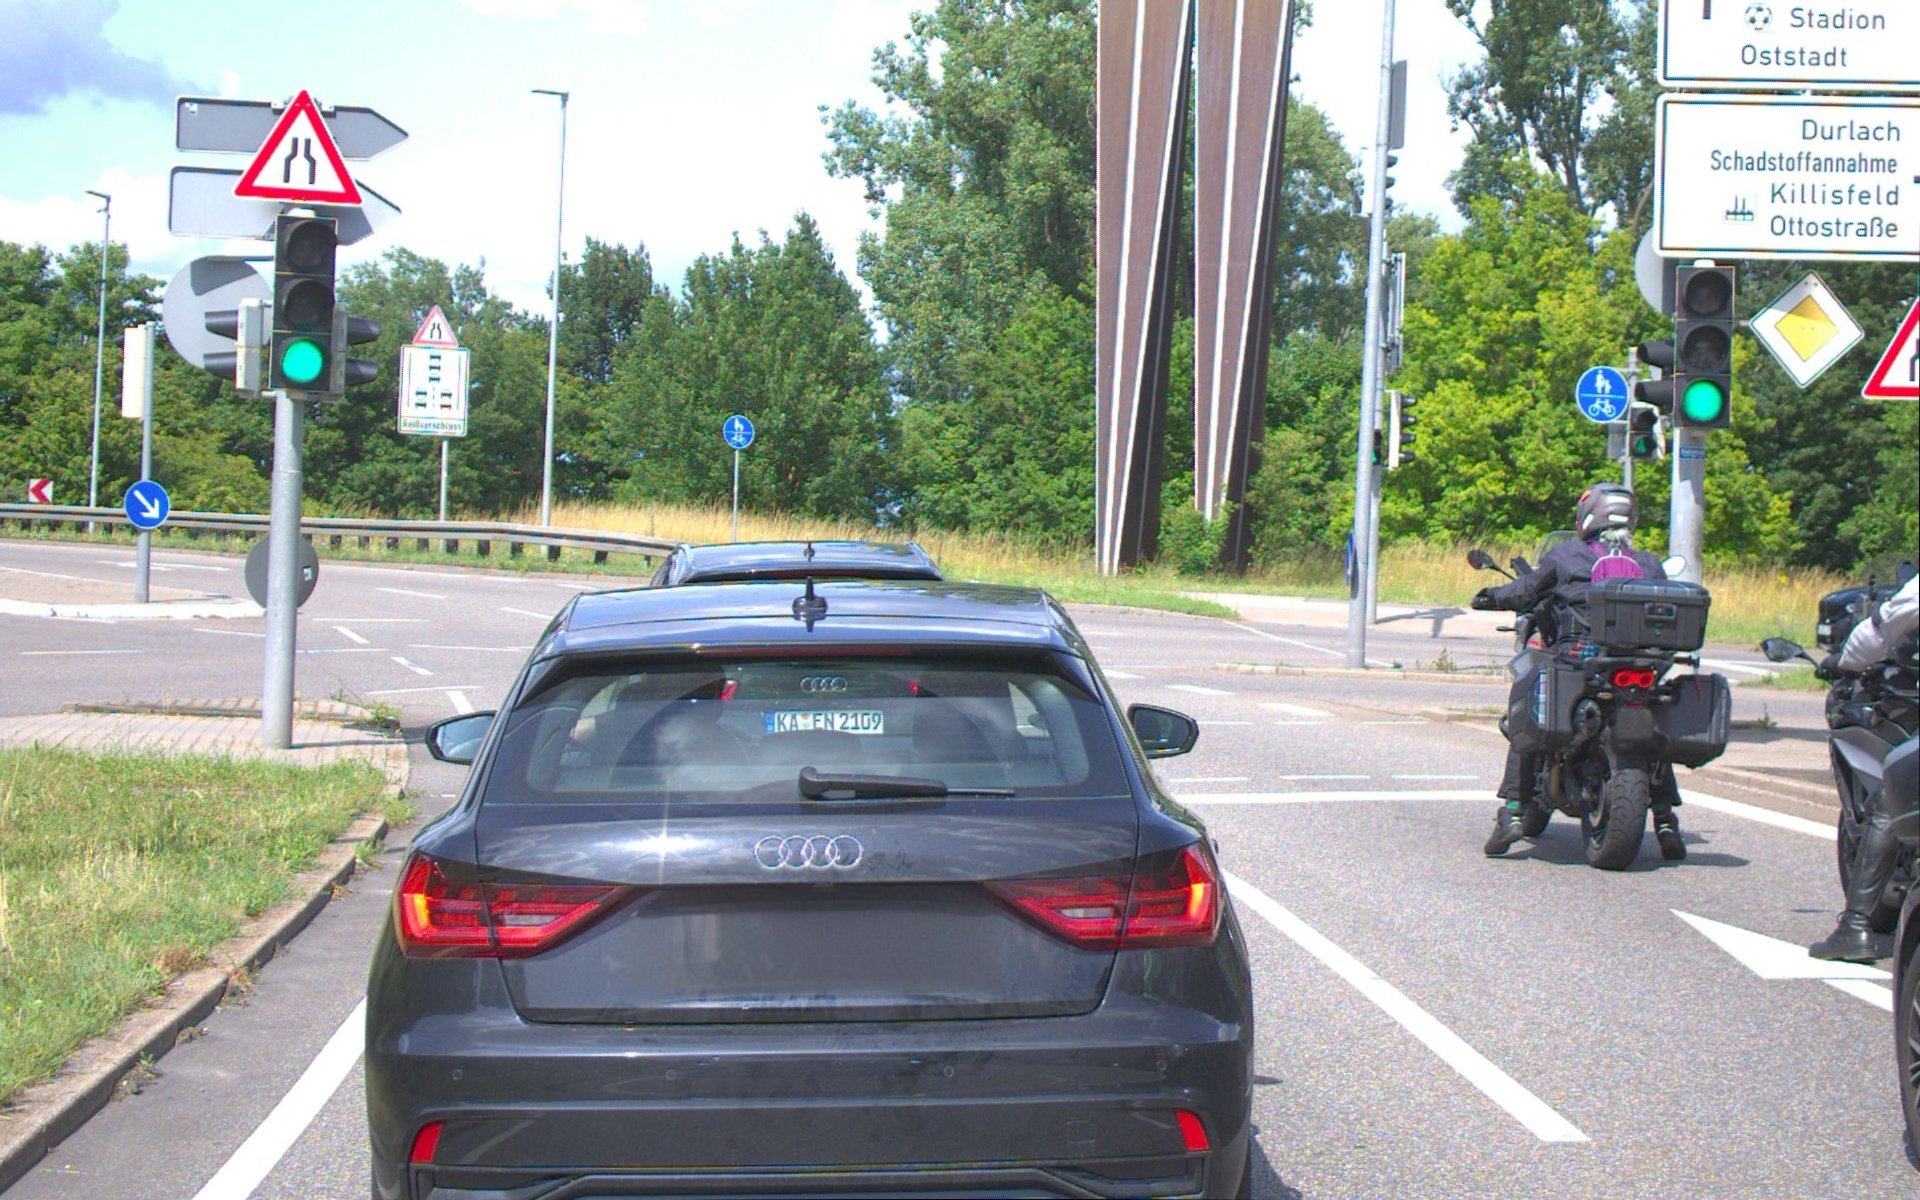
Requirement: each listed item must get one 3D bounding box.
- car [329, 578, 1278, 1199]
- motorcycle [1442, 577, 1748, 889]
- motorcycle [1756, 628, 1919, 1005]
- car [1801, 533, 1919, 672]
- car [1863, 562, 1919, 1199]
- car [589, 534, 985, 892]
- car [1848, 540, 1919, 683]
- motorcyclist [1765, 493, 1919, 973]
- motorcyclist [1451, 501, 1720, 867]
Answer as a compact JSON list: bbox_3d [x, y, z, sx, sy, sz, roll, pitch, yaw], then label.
[{"bbox_3d":[-0.300,0.672,7.978,1.682,1.383,3.739,0,1,-1],"label":"car"},{"bbox_3d":[2.837,0.552,15.653,0.887,1.243,2.399,2,1,-1],"label":"motorcycle"},{"bbox_3d":[3.466,0.715,11.929,0.789,1.128,2.399,2,1,-1],"label":"motorcycle"},{"bbox_3d":[12.954,0.096,43.176,4.201,1.640,1.838,3,2,-3],"label":"car"},{"bbox_3d":[3.117,0.703,6.487,1.642,1.473,3.873,1,1,-2],"label":"car"},{"bbox_3d":[-0.804,0.443,16.435,1.642,1.473,3.873,1,1,-2],"label":"car"},{"bbox_3d":[12.739,0.223,39.898,4.280,1.611,1.845,3,0,-3],"label":"car"},{"bbox_3d":[3.492,0.449,12.163,0.966,1.614,1.125,2,1,-1],"label":"motorcyclist"},{"bbox_3d":[2.843,0.361,15.739,0.966,1.590,1.125,2,1,-1],"label":"motorcyclist"}]
